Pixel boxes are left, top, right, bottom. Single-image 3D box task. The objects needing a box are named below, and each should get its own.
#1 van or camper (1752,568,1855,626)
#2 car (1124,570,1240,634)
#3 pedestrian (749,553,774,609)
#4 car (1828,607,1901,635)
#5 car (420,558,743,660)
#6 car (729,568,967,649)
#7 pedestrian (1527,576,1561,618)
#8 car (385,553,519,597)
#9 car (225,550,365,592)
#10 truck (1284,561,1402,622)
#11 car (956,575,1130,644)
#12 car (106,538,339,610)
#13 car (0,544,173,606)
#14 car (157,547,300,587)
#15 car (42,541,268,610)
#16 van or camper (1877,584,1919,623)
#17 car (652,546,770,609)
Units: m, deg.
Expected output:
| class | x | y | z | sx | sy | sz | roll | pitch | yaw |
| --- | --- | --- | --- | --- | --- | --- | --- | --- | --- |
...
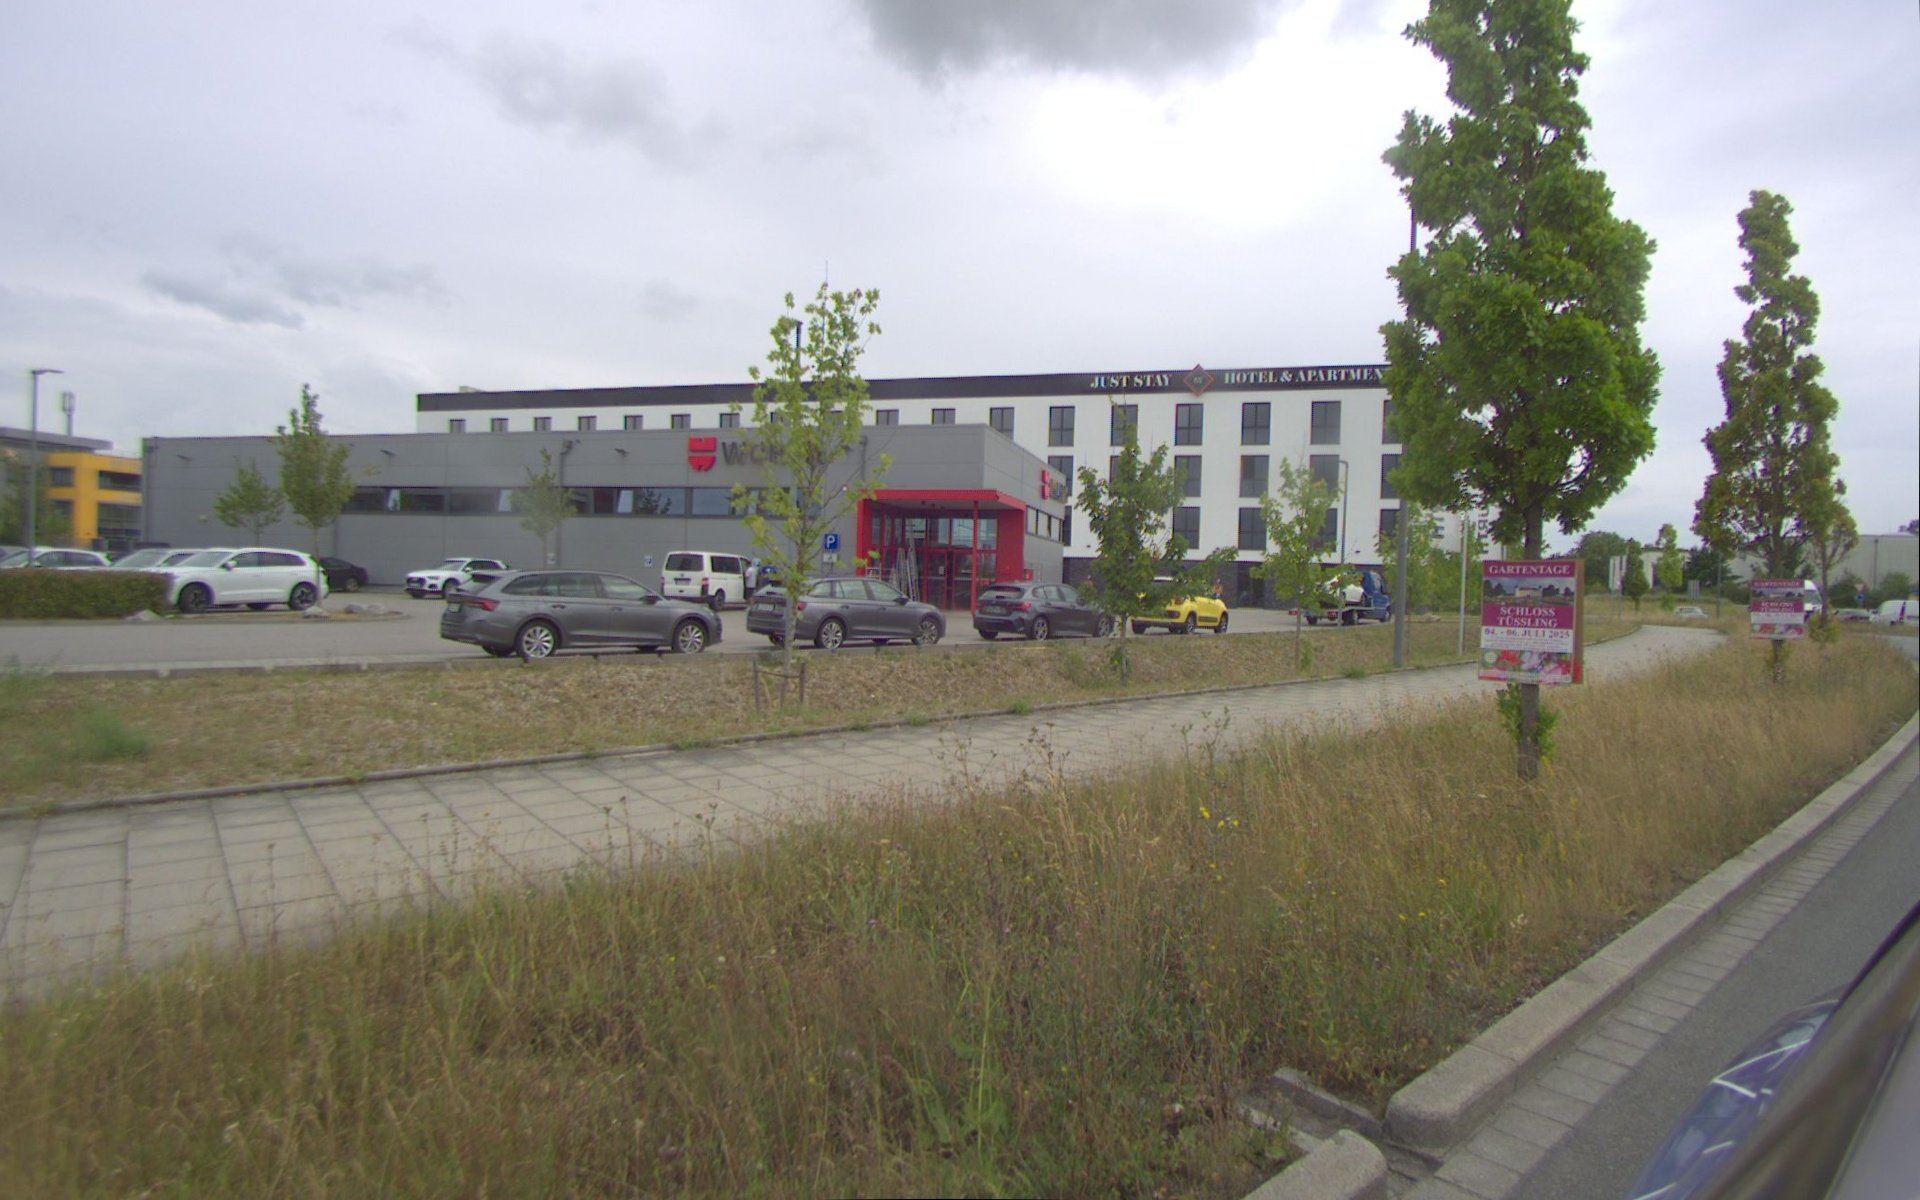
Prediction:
| class | x | y | z | sx | sy | sz | roll | pitch | yaw |
| --- | --- | --- | --- | --- | --- | --- | --- | --- | --- |
| van or camper | 41.621 | -0.198 | 50.110 | 2.240 | 2.649 | 5.653 | 2 | 1 | 23 |
| car | 6.624 | 0.036 | 29.858 | 1.757 | 1.707 | 4.355 | 2 | 1 | 35 |
| pedestrian | -6.843 | -0.657 | 34.944 | 0.785 | 1.892 | 0.615 | 1 | 0 | -8 |
| car | 55.307 | 1.272 | 61.978 | 2.152 | 1.501 | 4.857 | 2 | 1 | 27 |
| car | -6.260 | 0.111 | 17.143 | 4.751 | 1.478 | 1.964 | 0 | 1 | -44 |
| car | -2.183 | 0.145 | 20.920 | 1.864 | 1.455 | 4.802 | 2 | 1 | 44 |
| pedestrian | 27.216 | -0.148 | 47.159 | 1.188 | 1.880 | 1.061 | 2 | 3 | 36 |
| car | -19.720 | -0.981 | 39.548 | 2.055 | 1.537 | 4.548 | 3 | 2 | 19 |
| car | -26.956 | -1.167 | 41.222 | 2.052 | 1.537 | 4.554 | 2 | 2 | 16 |
| truck | 16.505 | -0.343 | 43.186 | 2.223 | 2.354 | 8.097 | 2 | 1 | 39 |
| car | 2.162 | 0.156 | 25.337 | 1.993 | 1.515 | 4.538 | 2 | 3 | 42 |
| car | -19.418 | -0.684 | 26.952 | 1.974 | 1.718 | 4.764 | 1 | 1 | 18 |
| car | -25.782 | -0.711 | 29.373 | 1.960 | 1.649 | 4.301 | 1 | 1 | 19 |
| car | -30.815 | -1.391 | 42.811 | 2.055 | 1.537 | 4.548 | 3 | 2 | 19 |
| car | -21.939 | -0.661 | 27.847 | 2.103 | 1.699 | 4.518 | 1 | 1 | 15 |
| van or camper | 52.135 | 0.181 | 55.151 | 1.935 | 2.032 | 5.078 | 3 | 2 | 28 |
| car | -8.553 | -0.768 | 35.215 | 1.972 | 2.012 | 4.614 | 1 | 1 | 15 |
